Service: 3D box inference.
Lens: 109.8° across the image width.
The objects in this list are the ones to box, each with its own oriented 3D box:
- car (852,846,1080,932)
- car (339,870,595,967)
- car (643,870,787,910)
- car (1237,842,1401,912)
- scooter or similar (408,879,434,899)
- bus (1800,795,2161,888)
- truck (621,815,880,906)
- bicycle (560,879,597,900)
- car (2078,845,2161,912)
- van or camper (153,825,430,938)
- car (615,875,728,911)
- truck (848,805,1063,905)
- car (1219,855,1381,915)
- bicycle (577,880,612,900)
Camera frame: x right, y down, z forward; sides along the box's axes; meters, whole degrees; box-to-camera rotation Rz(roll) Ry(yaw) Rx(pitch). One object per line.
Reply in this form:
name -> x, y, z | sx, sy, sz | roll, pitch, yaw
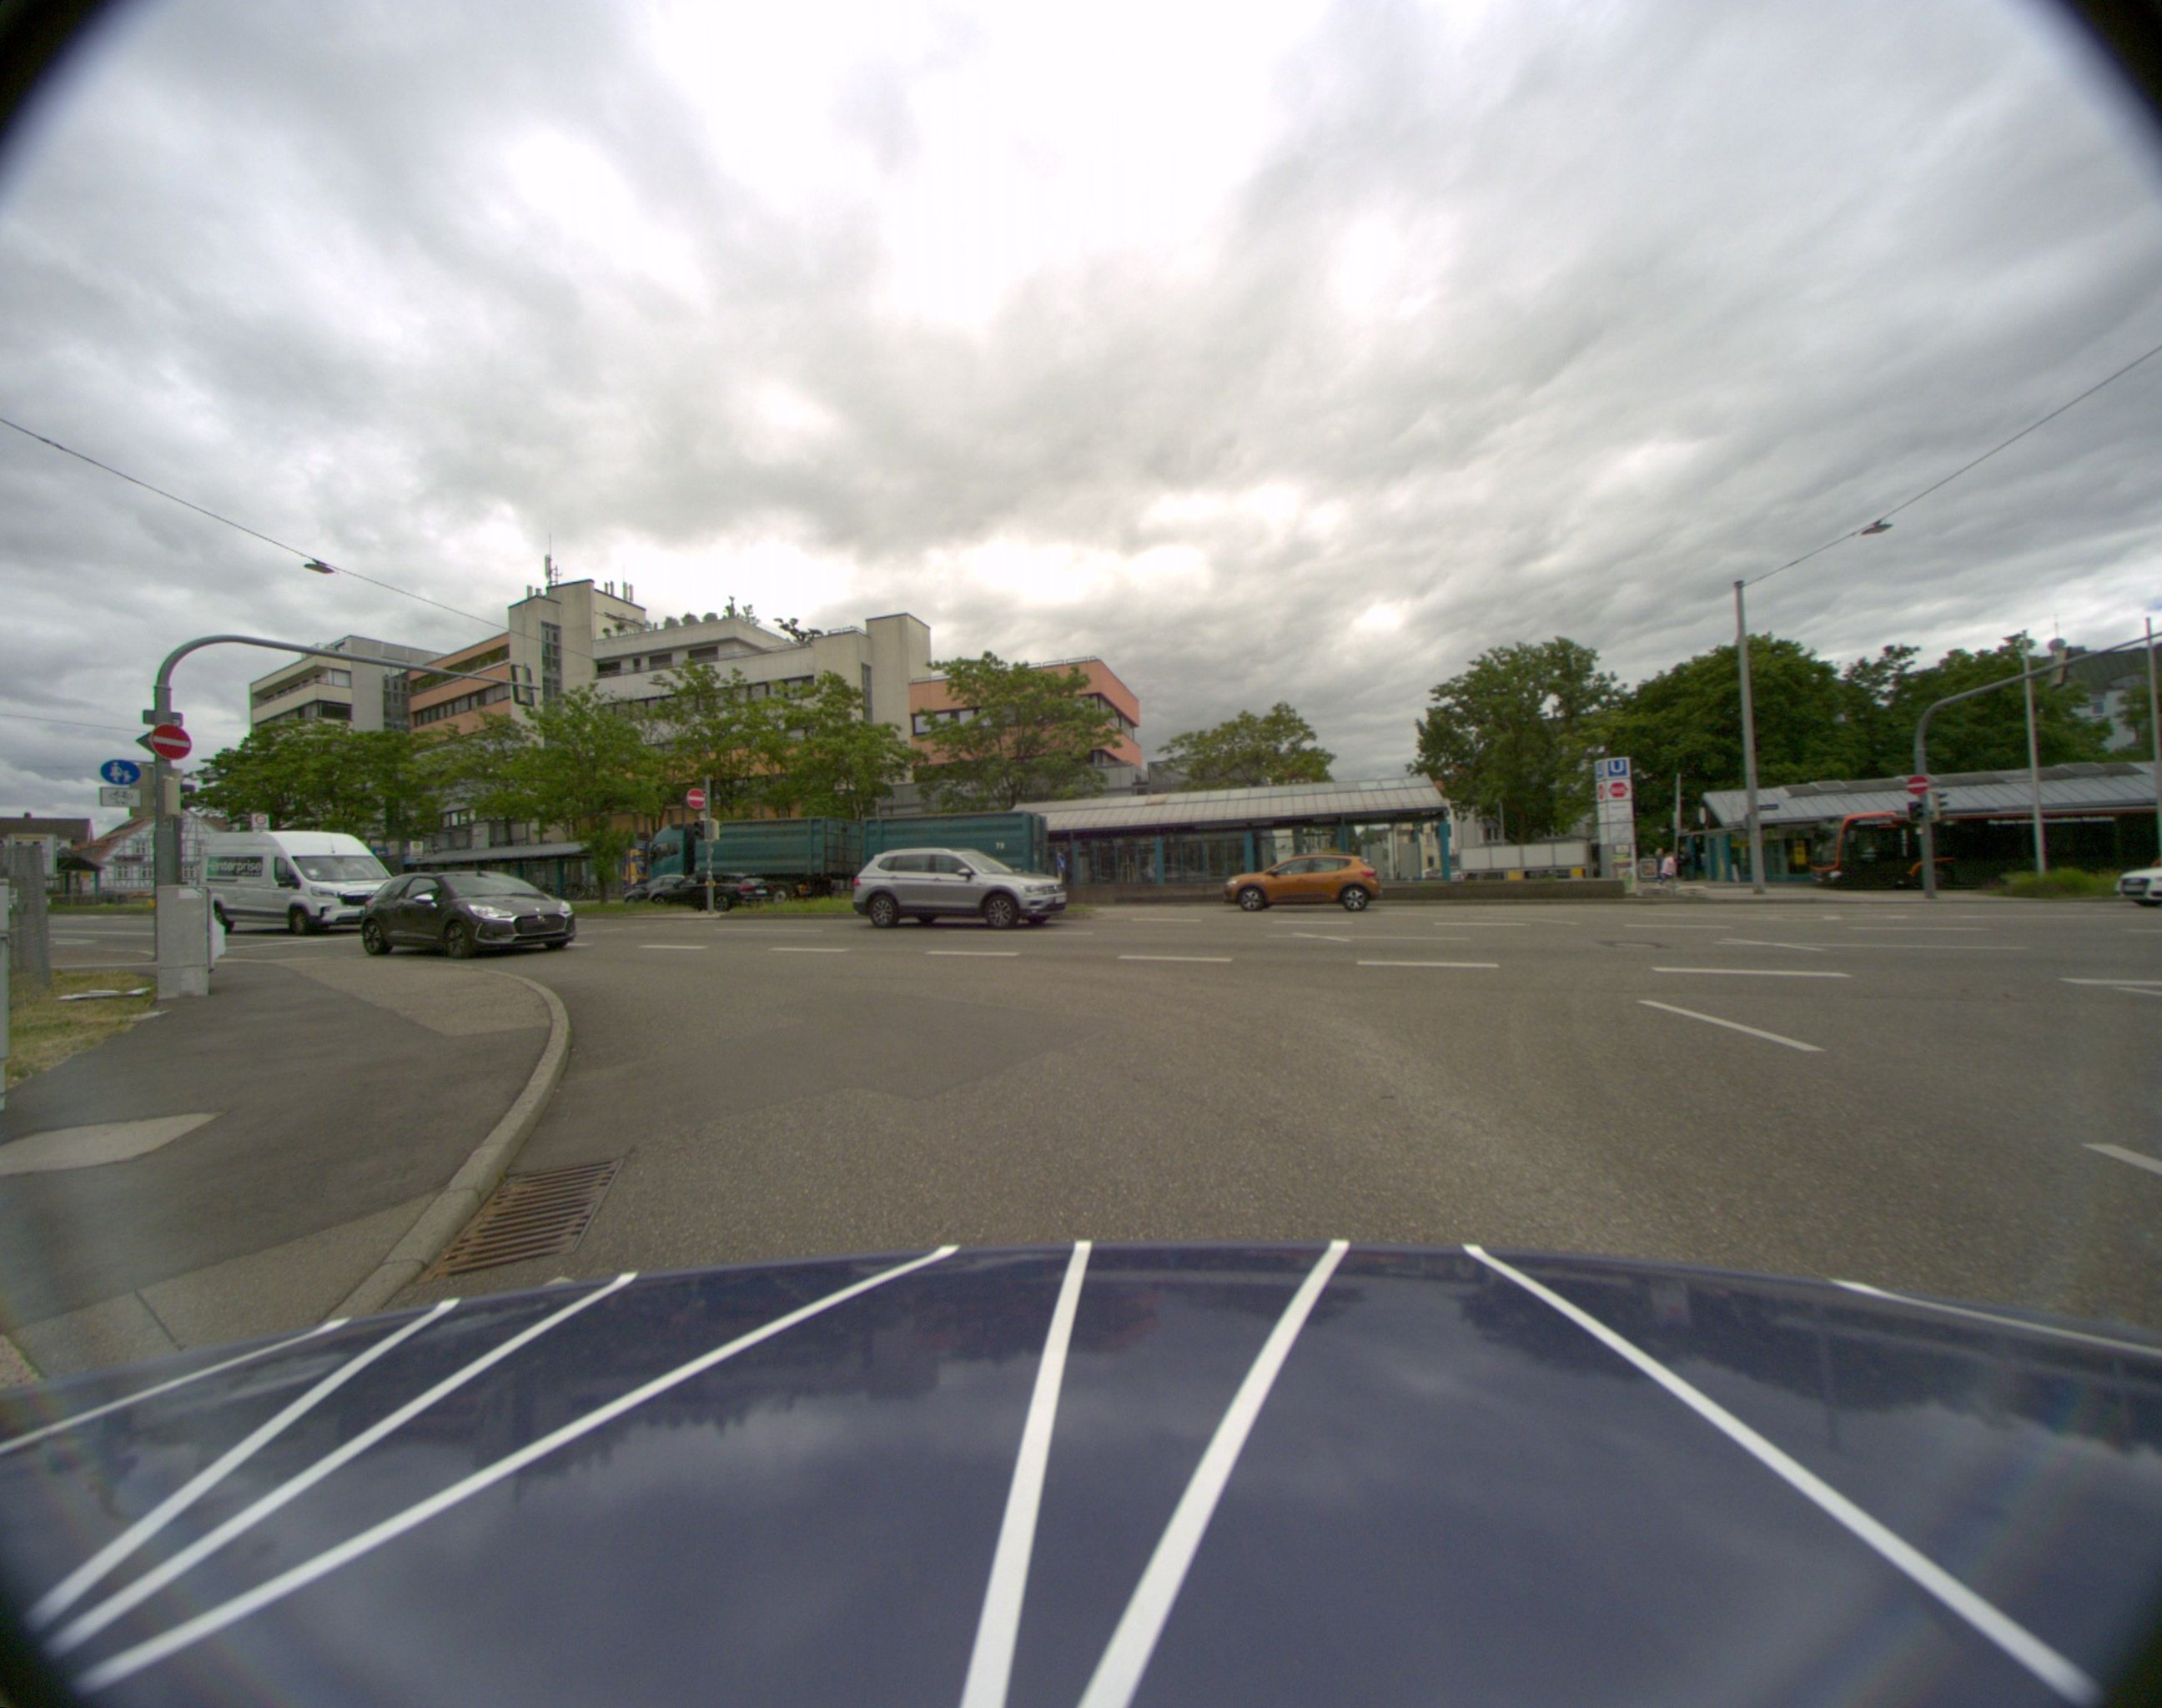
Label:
car -> -2.447, 0.755, 16.264 | 4.383, 1.640, 2.003 | -2, -1, 22
car -> -10.895, 1.109, 13.498 | 3.991, 1.515, 1.868 | -3, -2, 23
car -> -12.918, 1.278, 26.889 | 4.435, 1.324, 2.003 | -1, -1, 18
car -> 7.233, 0.709, 23.246 | 4.559, 2.001, 2.003 | -1, -1, 18
scooter or similar -> -44.518, 2.381, 51.284 | 0.339, 1.262, 1.327 | -1, 1, 15
bus -> 34.950, -0.401, 27.866 | 12.129, 3.115, 2.972 | -1, 0, 26
truck -> -14.912, 0.346, 34.193 | 11.255, 3.705, 3.384 | -1, 0, 19
bicycle -> -31.599, 2.196, 47.829 | 0.711, 1.147, 2.072 | -1, 2, 7
car -> 26.604, 0.513, 17.220 | 4.482, 1.498, 2.003 | -1, -1, 19
van or camper -> -21.281, 0.800, 20.474 | 6.981, 2.689, 2.285 | -2, -2, 17
car -> -16.904, 1.605, 31.384 | 3.992, 1.408, 1.806 | -1, -2, 17
truck -> -5.087, 0.133, 31.024 | 8.009, 3.704, 3.385 | -1, -1, 20
car -> 5.910, 0.841, 20.550 | 3.991, 1.507, 2.003 | -1, -1, 19
bicycle -> -30.552, 2.233, 47.749 | 0.711, 1.146, 2.073 | -1, 0, 6
